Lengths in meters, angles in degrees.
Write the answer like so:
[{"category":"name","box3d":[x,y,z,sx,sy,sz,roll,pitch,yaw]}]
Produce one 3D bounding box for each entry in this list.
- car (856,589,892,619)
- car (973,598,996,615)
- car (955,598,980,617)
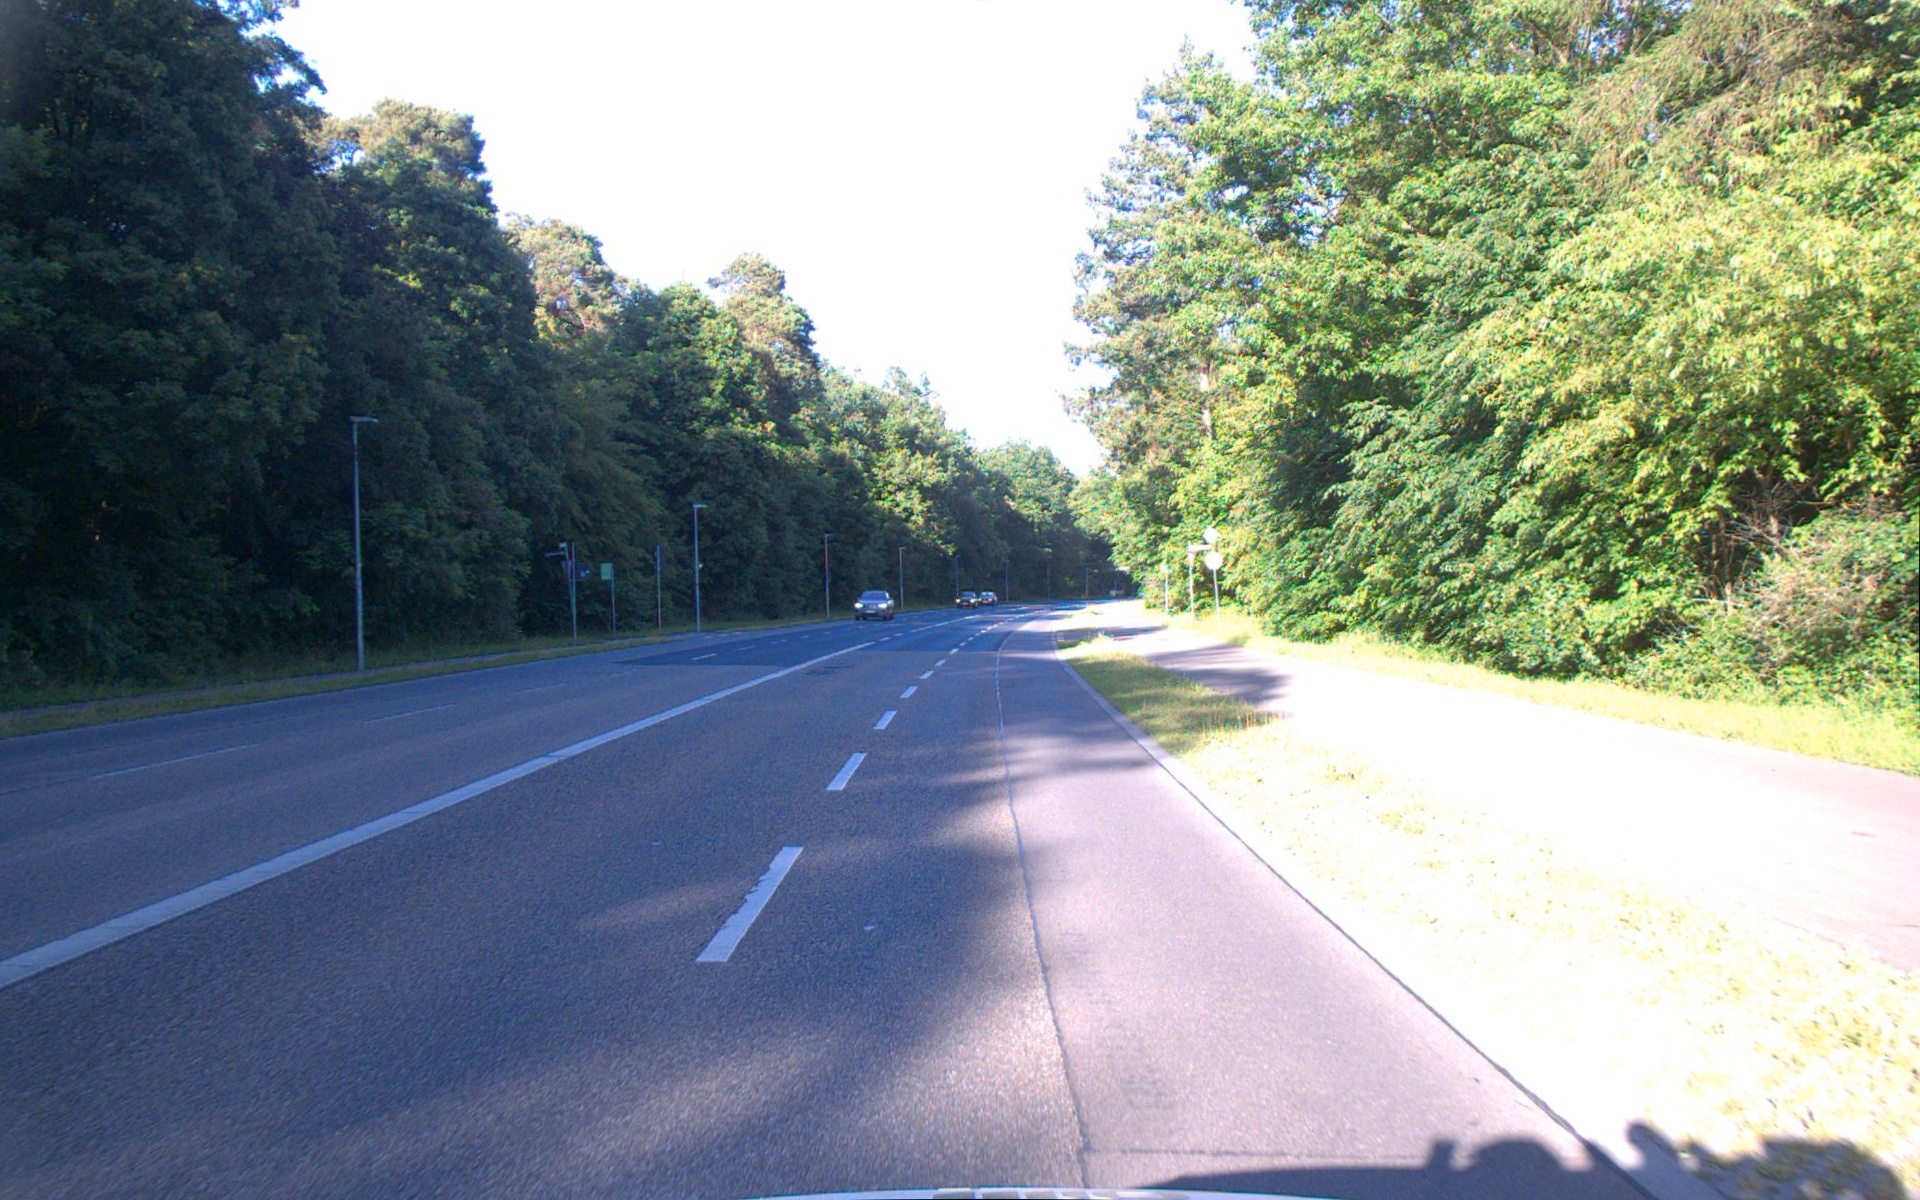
[{"category":"car","box3d":[-4.786,0.242,92.581,1.953,1.613,3.998,0,-1,-2]},{"category":"car","box3d":[2.513,0.660,167.727,1.951,1.613,4.002,0,-1,6]},{"category":"car","box3d":[0.665,0.685,147.972,1.952,1.613,4.002,0,-1,4]}]
